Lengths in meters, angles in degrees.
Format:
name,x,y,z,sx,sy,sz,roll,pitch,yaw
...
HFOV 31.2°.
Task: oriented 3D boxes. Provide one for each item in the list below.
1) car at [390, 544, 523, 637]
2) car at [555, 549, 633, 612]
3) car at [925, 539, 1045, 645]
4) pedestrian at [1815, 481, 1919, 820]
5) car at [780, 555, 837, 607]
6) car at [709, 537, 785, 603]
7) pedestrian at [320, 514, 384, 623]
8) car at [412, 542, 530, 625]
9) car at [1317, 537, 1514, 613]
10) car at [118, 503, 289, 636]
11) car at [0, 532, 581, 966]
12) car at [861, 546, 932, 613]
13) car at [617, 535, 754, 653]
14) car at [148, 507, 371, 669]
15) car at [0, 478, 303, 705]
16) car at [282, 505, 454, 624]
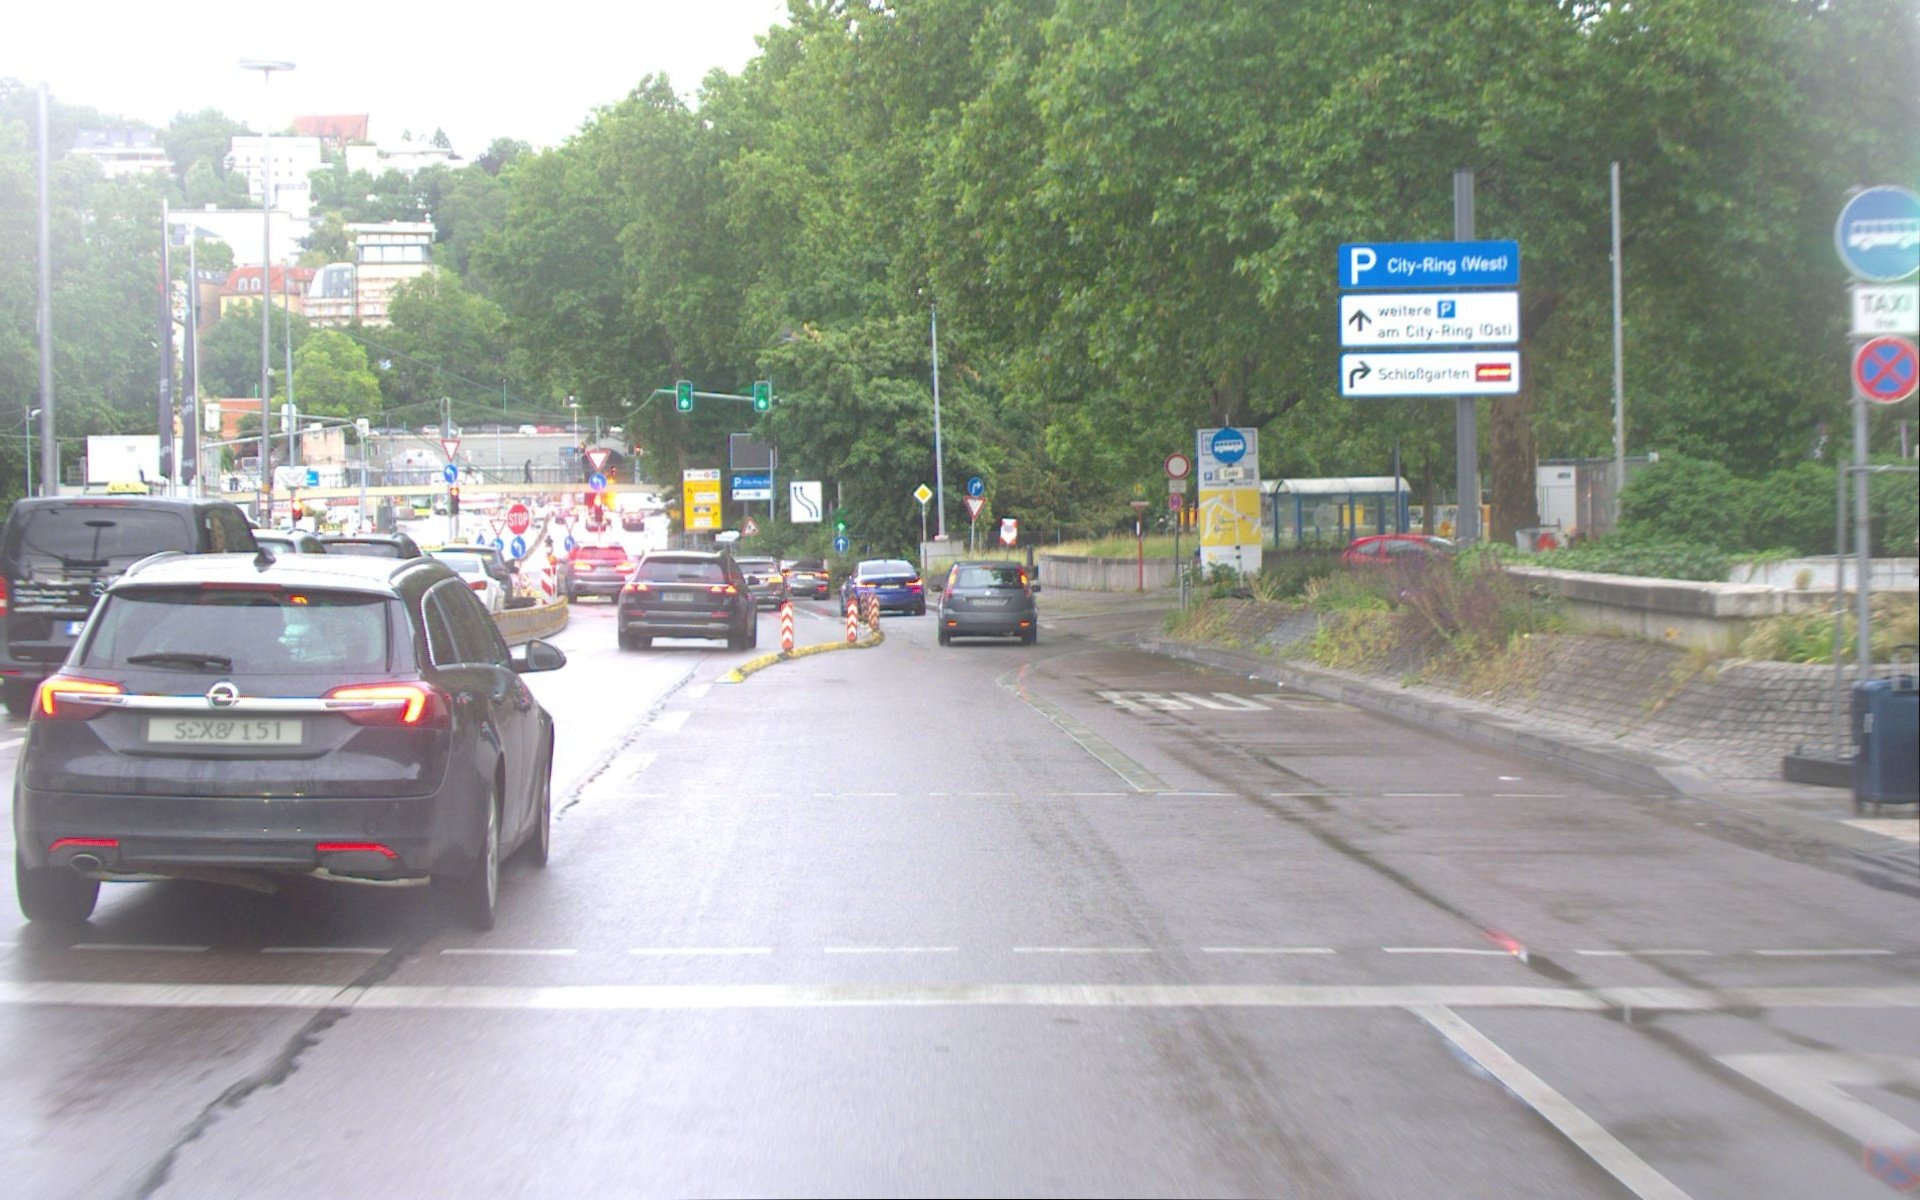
name,x,y,z,sx,sy,sz,roll,pitch,yaw
car,-9.094,-0.177,62.442,1.993,1.562,4.876,-2,0,-4
car,-10.913,-0.574,102.295,1.993,1.820,4.001,1,0,-10
car,0.397,-0.142,58.568,1.851,1.711,4.000,1,0,-2
pedestrian,5.359,0.266,19.148,0.786,1.832,0.950,0,0,-15
car,-4.904,-0.601,110.808,1.634,1.619,3.796,1,0,-5
car,-5.768,-0.798,93.449,1.904,1.711,4.000,1,0,-2
pedestrian,-11.266,-0.589,63.717,1.024,2.007,0.836,0,1,3
car,-9.571,-0.325,67.592,1.993,1.525,4.153,-2,0,-4
car,9.356,-0.517,70.673,3.615,1.500,1.730,1,0,39
car,-12.182,-0.477,55.658,1.993,2.007,5.370,1,0,-5
car,-2.731,0.494,14.344,1.877,1.503,4.852,0,1,-2
car,-1.548,-0.497,84.166,1.674,1.576,3.239,1,0,-1
car,-4.042,-0.111,51.187,1.830,1.680,4.134,0,1,-2
car,-7.834,-0.136,38.836,1.823,1.690,4.775,1,0,-4
car,-7.241,-0.080,30.926,1.993,1.839,5.063,1,0,-4
car,-7.983,-0.467,46.674,1.823,1.506,4.491,1,0,-4
